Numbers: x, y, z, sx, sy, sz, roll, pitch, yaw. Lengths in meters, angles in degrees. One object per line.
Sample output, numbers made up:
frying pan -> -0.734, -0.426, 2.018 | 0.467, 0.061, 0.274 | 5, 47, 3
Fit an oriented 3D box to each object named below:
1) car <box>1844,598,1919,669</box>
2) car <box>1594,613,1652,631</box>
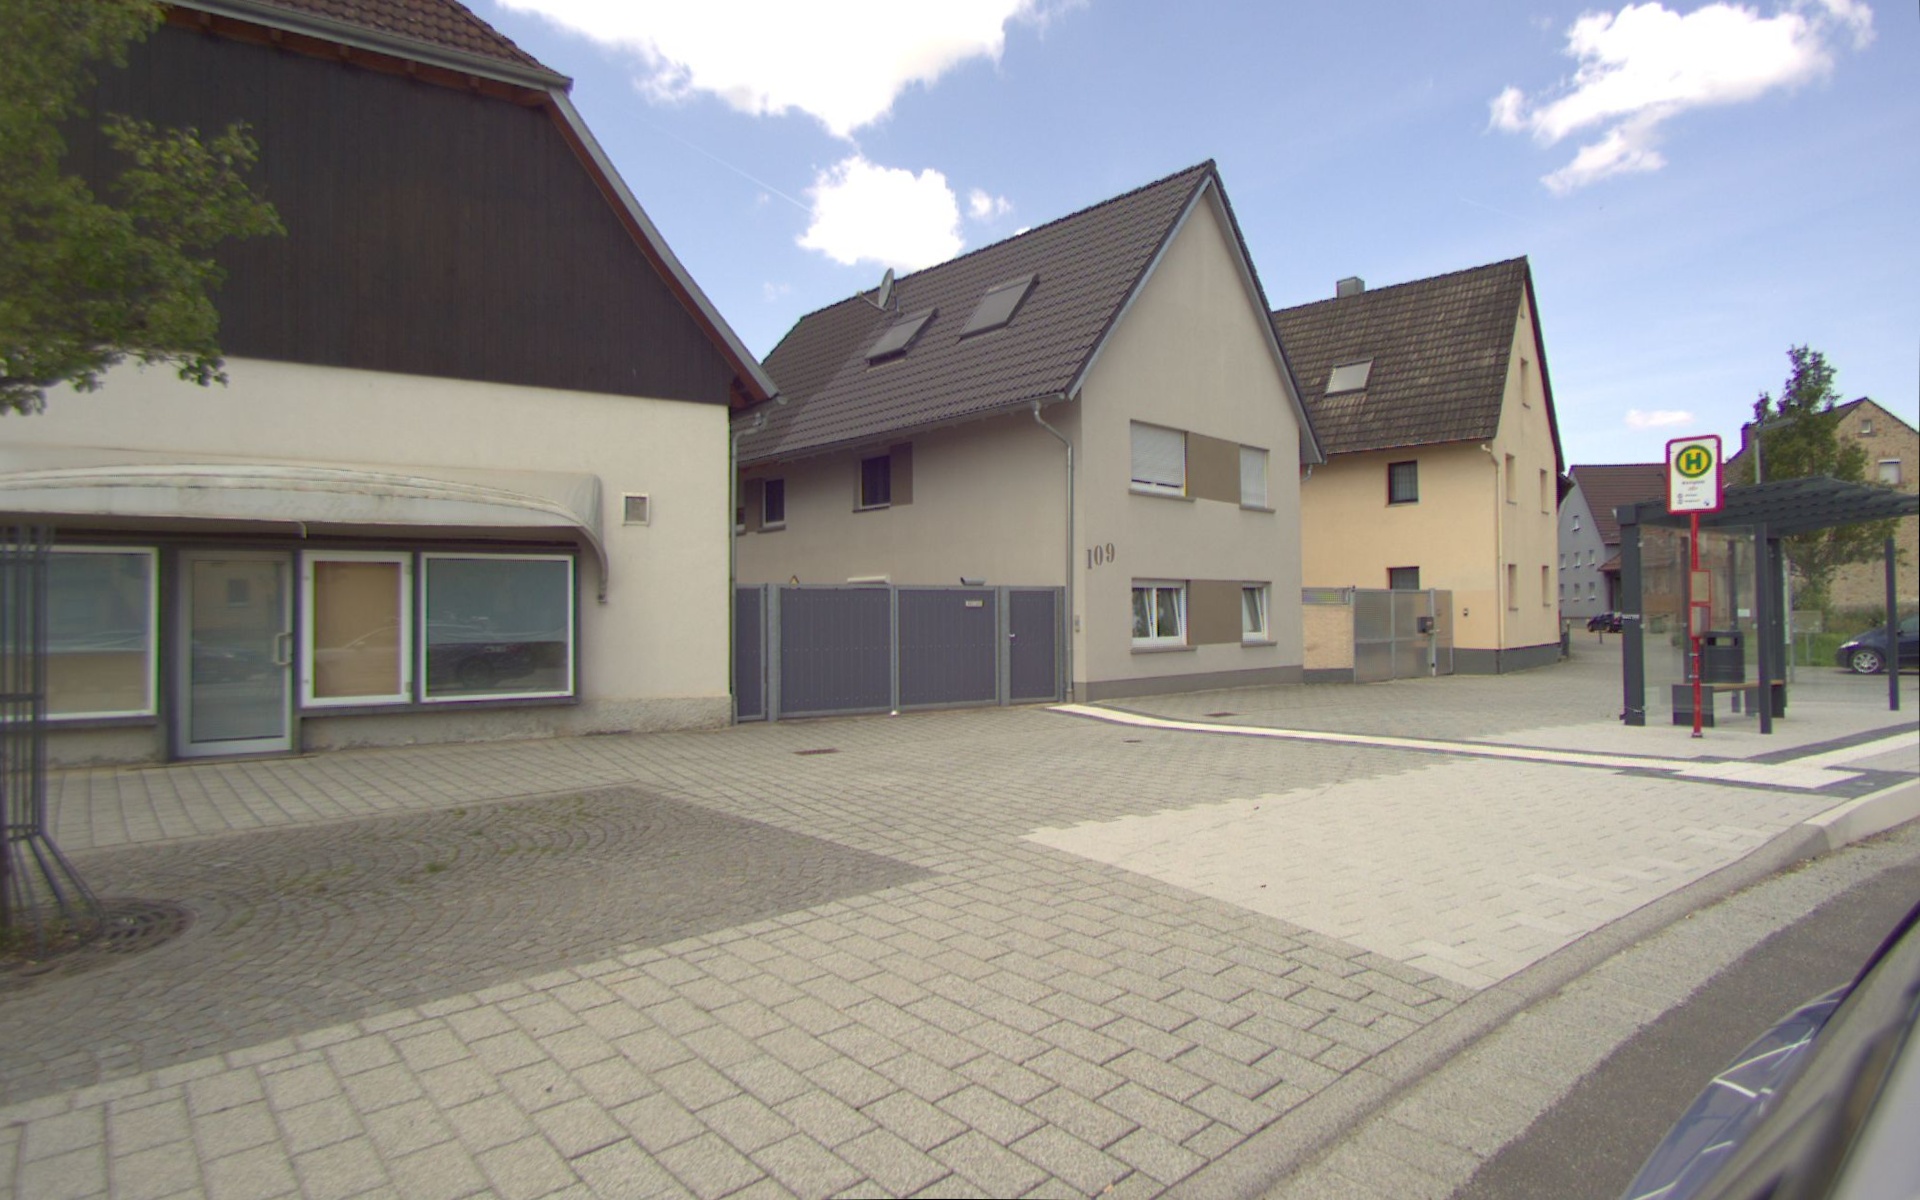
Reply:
car -> 22.889, 0.754, 23.402 | 1.638, 1.613, 3.540 | 0, -2, -43
car -> 42.762, 1.408, 65.367 | 1.776, 1.073, 3.984 | -1, 0, 13
